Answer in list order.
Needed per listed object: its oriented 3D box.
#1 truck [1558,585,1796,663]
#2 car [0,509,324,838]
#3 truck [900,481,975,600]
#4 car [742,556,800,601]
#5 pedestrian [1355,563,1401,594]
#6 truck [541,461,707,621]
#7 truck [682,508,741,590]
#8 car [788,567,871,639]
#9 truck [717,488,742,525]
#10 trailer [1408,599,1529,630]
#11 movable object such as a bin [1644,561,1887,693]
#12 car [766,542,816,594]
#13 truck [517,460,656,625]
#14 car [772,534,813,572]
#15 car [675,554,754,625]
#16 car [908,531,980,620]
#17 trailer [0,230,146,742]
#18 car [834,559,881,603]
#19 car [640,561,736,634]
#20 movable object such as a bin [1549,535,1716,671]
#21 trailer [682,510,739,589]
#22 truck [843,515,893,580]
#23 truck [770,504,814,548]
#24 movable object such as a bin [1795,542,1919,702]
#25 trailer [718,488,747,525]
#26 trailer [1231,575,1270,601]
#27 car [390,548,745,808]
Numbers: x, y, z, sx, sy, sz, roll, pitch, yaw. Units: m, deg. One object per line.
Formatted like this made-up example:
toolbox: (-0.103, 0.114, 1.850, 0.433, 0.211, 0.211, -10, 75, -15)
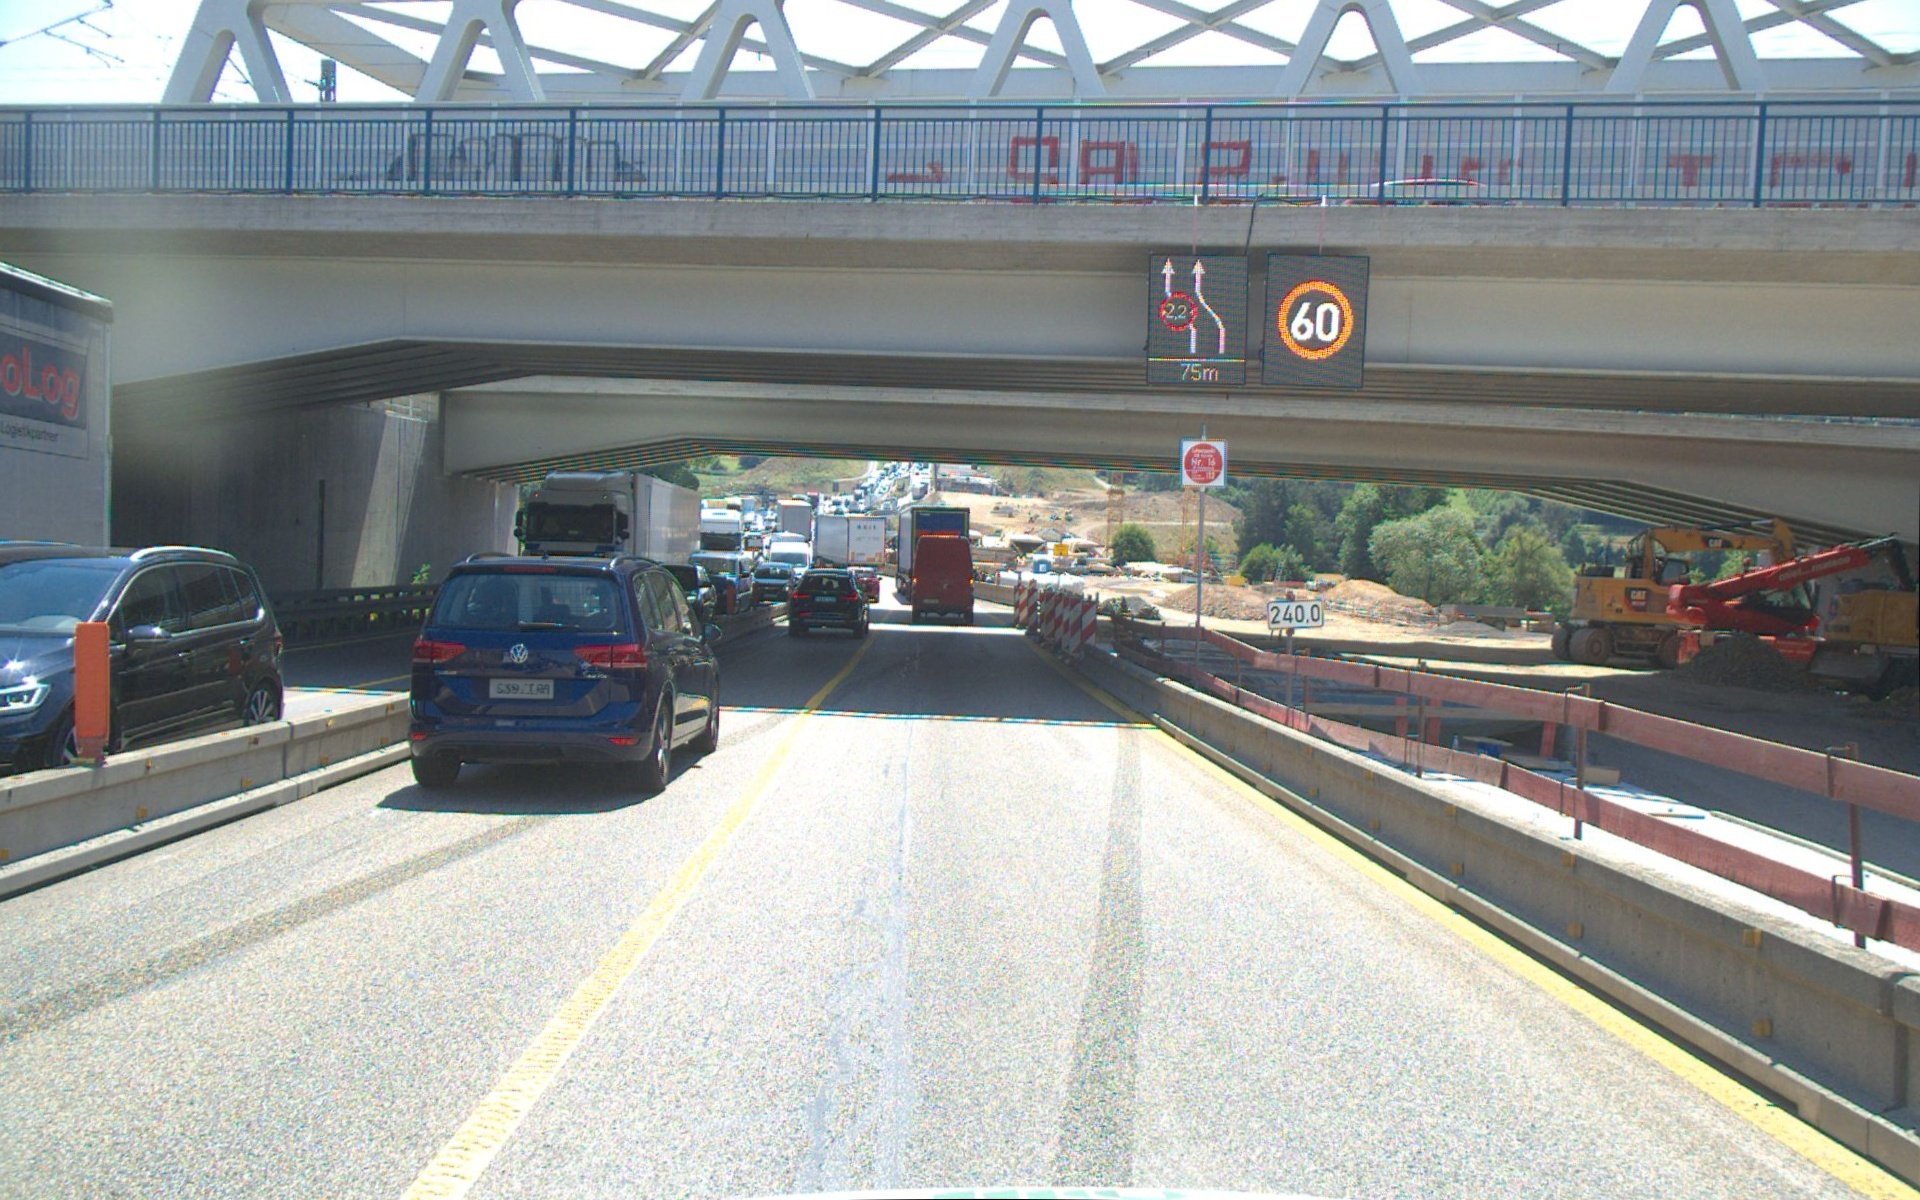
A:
truck: (22.925, 0.729, 53.116, 6.386, 2.109, 2.666, 3, 1, 2)
car: (-6.090, 0.338, 11.239, 1.818, 1.787, 4.608, 1, 1, -1)
truck: (-1.087, -2.735, 74.012, 2.887, 5.030, 6.739, 1, 3, -4)
car: (-7.243, -0.834, 63.673, 1.713, 1.637, 4.141, 1, 1, 0)
pedestrian: (28.545, -1.448, 113.118, 1.953, 2.049, 3.998, 1, 0, -2)
truck: (-10.432, -1.625, 53.034, 2.713, 4.389, 13.486, 1, 0, -1)
truck: (-13.307, -2.706, 88.331, 2.821, 4.121, 4.875, 3, 1, -10)
car: (-3.198, 0.041, 41.244, 1.796, 1.664, 4.388, 1, 1, -1)
truck: (-28.003, -11.319, 200.909, 2.574, 4.343, 4.728, 3, 2, -5)
trailer: (22.034, 0.626, 71.764, 4.618, 1.241, 2.055, 1, 0, -1)
movable object such as a bin: (21.269, 0.692, 43.891, 5.130, 3.109, 2.497, 3, 0, 3)
car: (-8.088, -1.544, 79.541, 1.941, 2.370, 6.055, 1, 1, -2)
truck: (-10.238, -1.499, 45.840, 2.605, 4.243, 5.185, 1, 0, -1)
car: (-11.804, -3.332, 116.310, 2.226, 2.395, 5.144, 1, 4, -13)
car: (-7.225, -0.334, 49.062, 1.764, 1.966, 4.966, 1, 1, -3)
car: (-0.498, -0.728, 52.753, 2.106, 2.656, 5.438, 1, 0, 0)
trailer: (-9.297, -0.975, 12.120, 2.756, 4.247, 8.239, 1, 0, -2)
car: (-4.394, -0.814, 71.351, 1.796, 1.808, 4.389, 1, 0, -1)
car: (-6.711, -0.103, 41.251, 1.687, 1.637, 4.523, 3, 1, -2)
movable object such as a bin: (19.402, 0.087, 47.938, 3.799, 3.604, 2.905, 3, 0, 10)
trailer: (-14.525, -2.940, 95.556, 2.824, 4.109, 14.328, 3, 1, -10)
truck: (-6.052, -3.559, 109.695, 3.118, 4.057, 6.740, 2, 3, -3)
truck: (-14.977, -6.545, 147.236, 3.161, 3.419, 8.918, 2, 0, -10)
movable object such as a bin: (21.521, 0.561, 36.631, 4.459, 3.344, 2.991, 3, 0, 3)
trailer: (-28.556, -11.657, 207.974, 2.596, 4.366, 13.301, 3, 3, -5)
trailer: (18.934, -0.803, 107.972, 1.592, 1.511, 3.823, 2, 2, -5)
car: (-2.860, 0.502, 13.049, 1.698, 1.664, 4.389, 1, 0, 0)
